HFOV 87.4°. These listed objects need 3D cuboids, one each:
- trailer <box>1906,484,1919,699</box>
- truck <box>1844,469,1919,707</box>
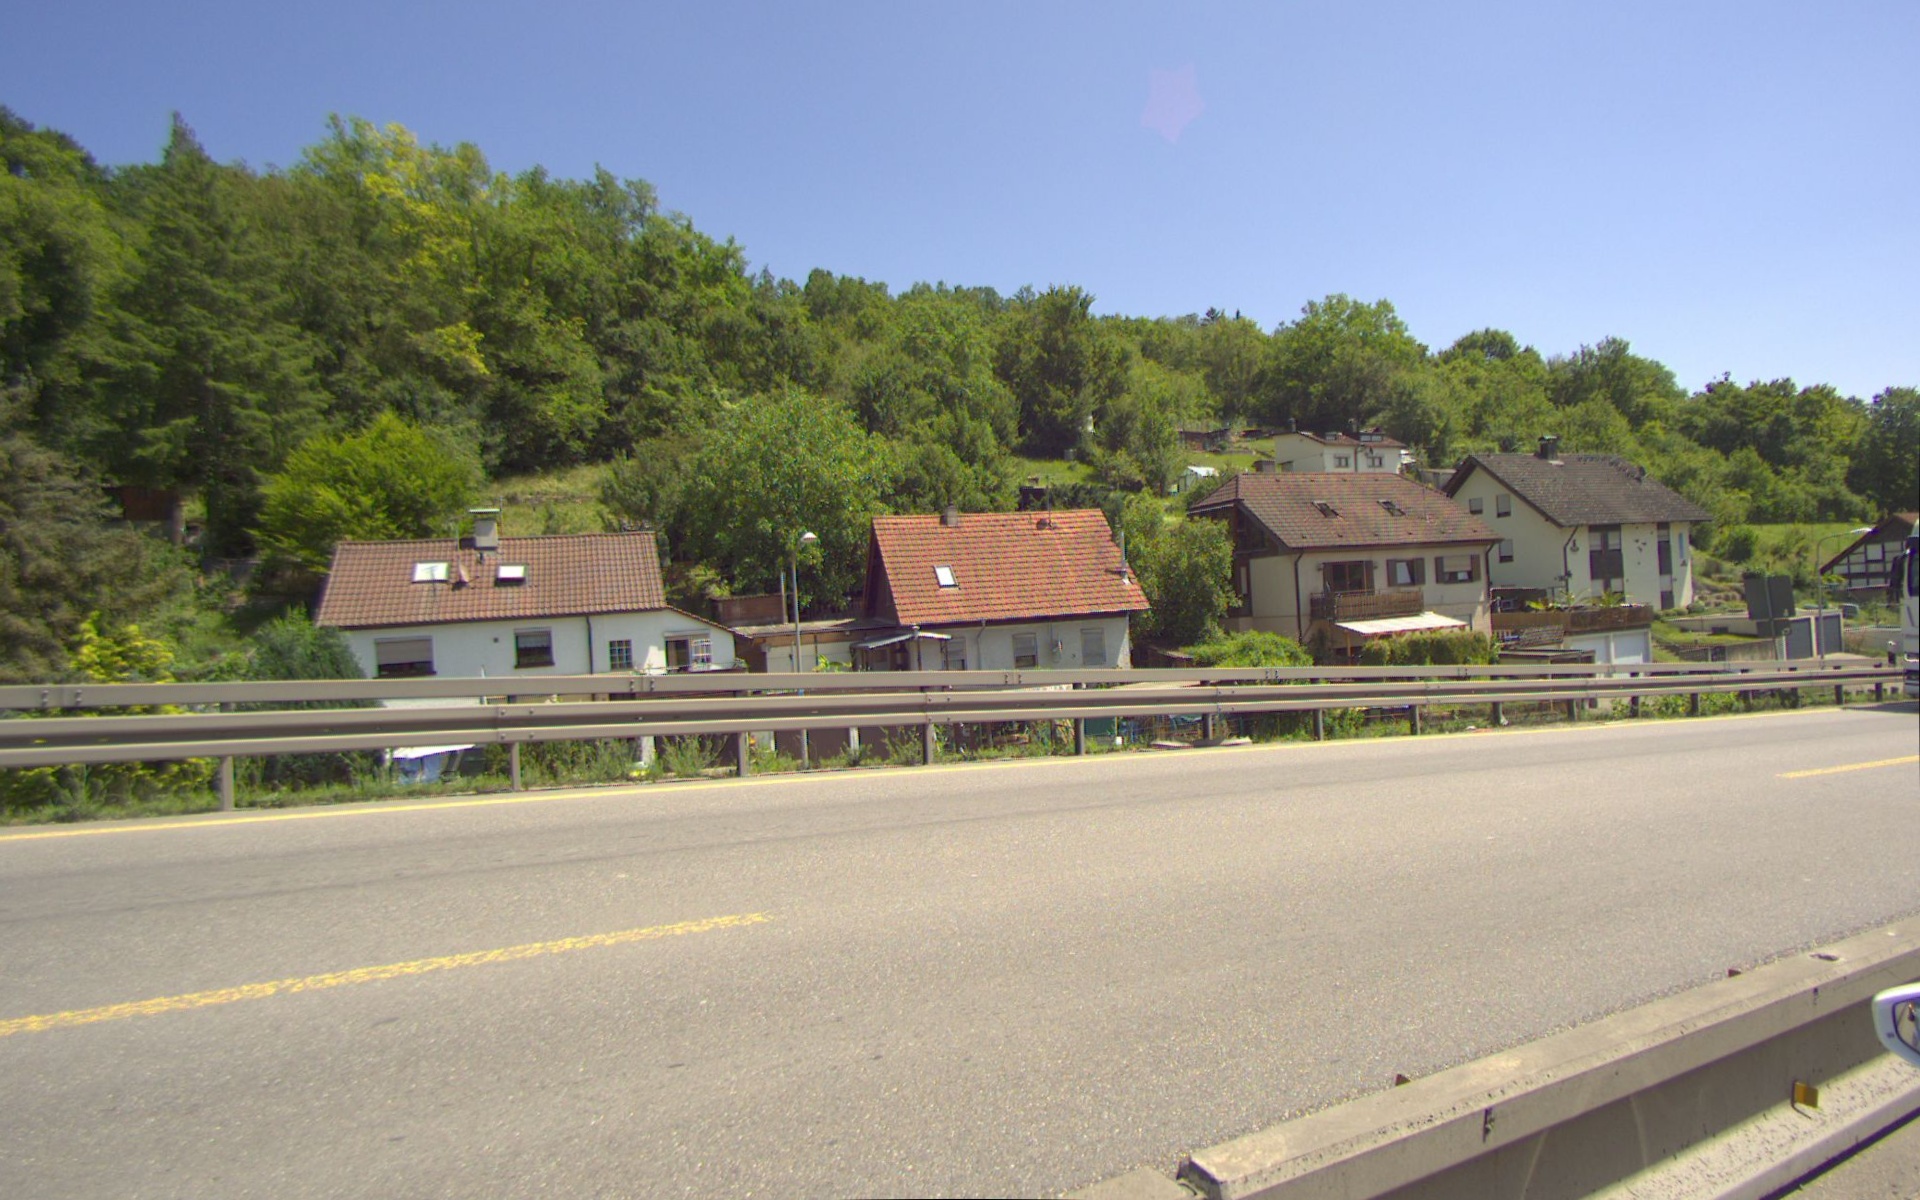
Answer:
[{"bbox_3d":[26.521,0.036,22.762,13.886,4.437,3.238,2,0,-29],"label":"trailer"},{"bbox_3d":[21.710,-0.108,20.131,8.198,4.420,3.290,2,0,-28],"label":"truck"}]
